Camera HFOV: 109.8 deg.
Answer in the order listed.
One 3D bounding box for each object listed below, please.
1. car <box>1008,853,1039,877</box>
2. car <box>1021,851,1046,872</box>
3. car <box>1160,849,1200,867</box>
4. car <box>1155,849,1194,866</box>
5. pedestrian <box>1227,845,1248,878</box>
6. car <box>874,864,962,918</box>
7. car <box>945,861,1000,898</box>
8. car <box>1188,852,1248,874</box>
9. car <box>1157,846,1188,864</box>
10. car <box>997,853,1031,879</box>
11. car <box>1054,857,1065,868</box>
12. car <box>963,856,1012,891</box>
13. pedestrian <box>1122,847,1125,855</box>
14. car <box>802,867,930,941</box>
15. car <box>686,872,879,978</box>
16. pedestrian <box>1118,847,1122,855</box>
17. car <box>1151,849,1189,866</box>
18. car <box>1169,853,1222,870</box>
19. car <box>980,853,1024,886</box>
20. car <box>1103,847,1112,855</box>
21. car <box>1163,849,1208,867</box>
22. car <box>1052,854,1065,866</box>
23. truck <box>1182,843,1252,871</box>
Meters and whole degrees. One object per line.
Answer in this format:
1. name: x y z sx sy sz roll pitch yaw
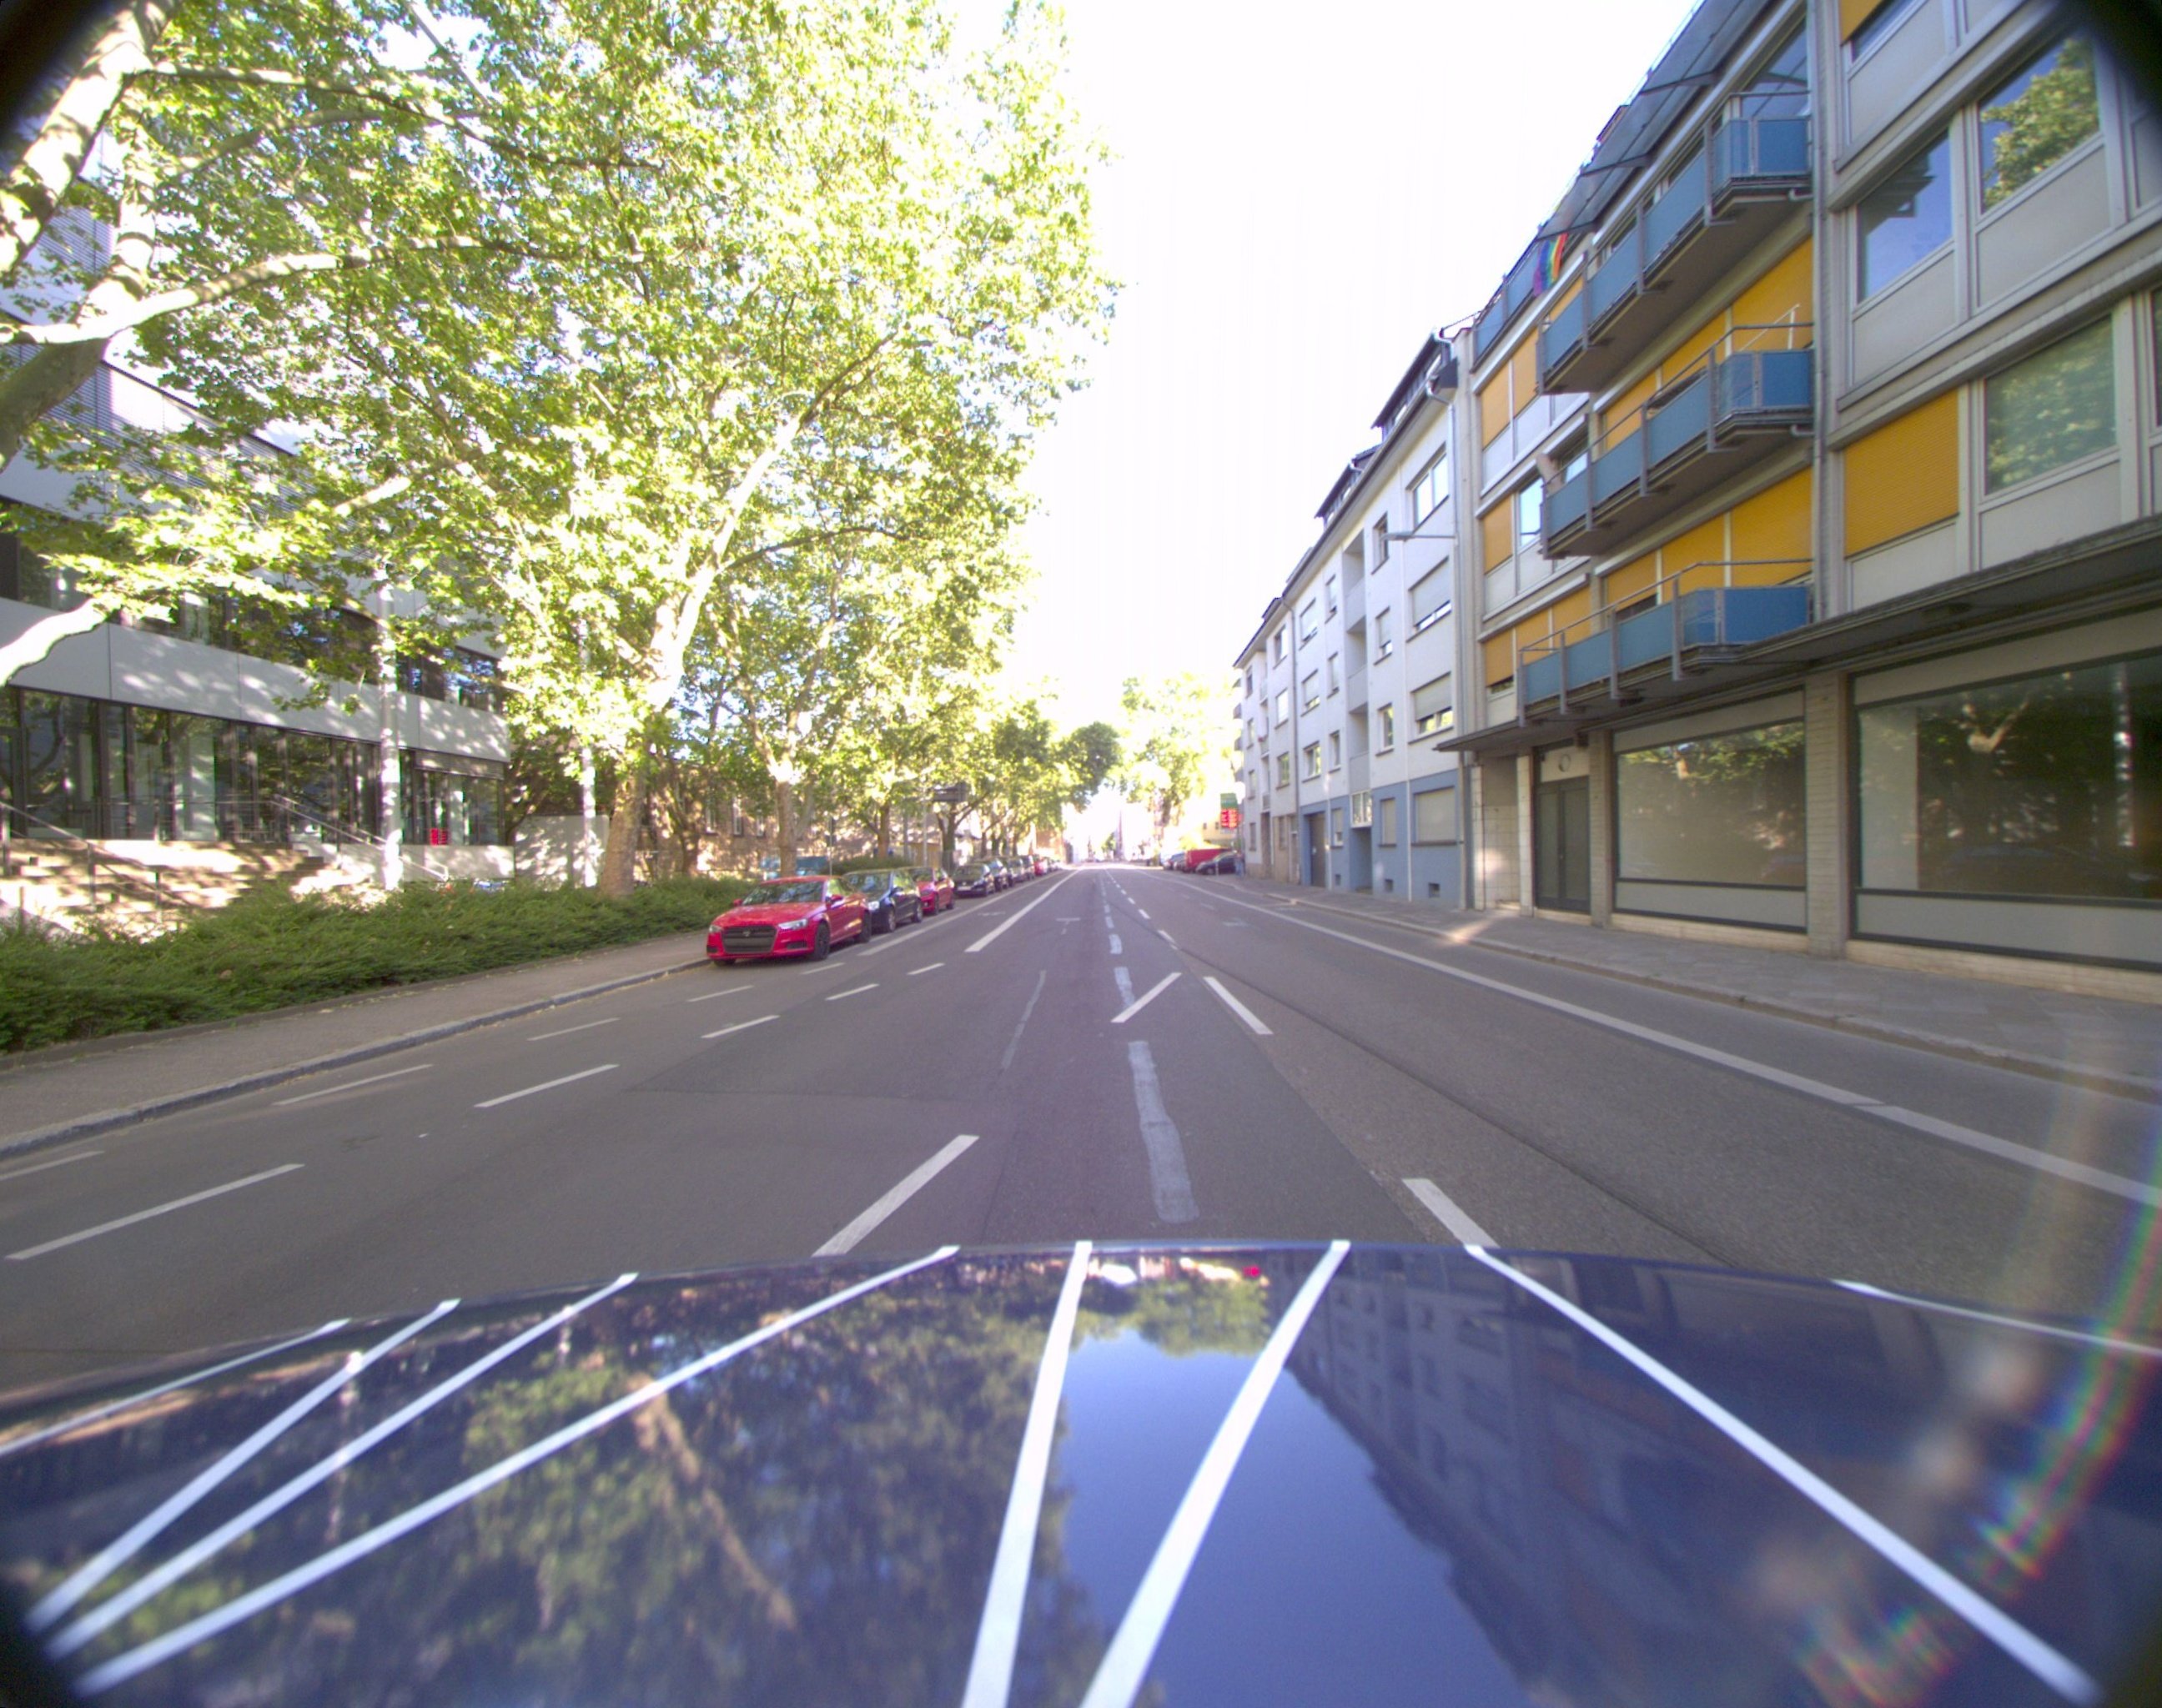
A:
1. car: -4.163 0.750 55.518 1.831 1.608 4.177 -1 0 1
2. car: -4.102 0.614 66.188 1.876 1.685 4.166 -1 0 1
3. car: 9.885 0.376 75.918 3.658 1.578 1.659 -2 1 -5
4. car: 9.621 0.373 78.577 3.703 1.573 1.718 -2 1 -5
5. pedestrian: 8.521 0.411 41.408 0.896 1.761 0.741 -2 1 1
6. car: -4.974 1.090 23.704 1.790 1.429 4.000 -1 0 1
7. car: -4.671 1.083 33.271 1.745 1.430 4.000 -1 0 1
8. car: 9.856 0.626 54.808 3.997 1.385 1.781 -2 1 -1
9. car: 10.236 0.102 85.275 3.267 1.927 1.693 -2 1 2
10. car: -4.435 0.738 50.461 1.798 1.608 4.075 -1 0 1
11. car: -2.623 1.024 92.324 1.300 1.220 3.241 -1 1 0
12. car: -4.617 0.921 38.217 1.848 1.572 4.232 -2 0 1
13. pedestrian: 11.141 -0.883 198.845 0.535 2.002 0.769 -1 2 42
14. car: -4.997 1.110 18.263 1.813 1.449 4.000 -1 0 2
15. car: -5.104 1.134 13.676 1.775 1.416 4.173 -3 0 0
16. pedestrian: 10.323 -0.754 199.637 0.613 1.981 0.711 -1 2 42
17. car: 9.491 0.369 80.868 3.728 1.579 1.743 -2 1 -5
18. car: 9.462 0.610 62.824 4.033 1.265 1.906 -2 1 -1
19. car: -4.539 0.868 44.200 1.998 1.715 4.262 -2 1 1
20. car: 6.768 -0.807 193.469 1.998 2.002 3.999 -2 1 1
21. car: 10.087 0.376 73.370 3.998 1.618 1.702 -2 1 -5
22. car: -3.005 0.813 102.941 1.707 1.459 3.809 -1 0 0
23. truck: 10.733 0.234 60.104 5.088 2.009 2.000 -2 1 0
